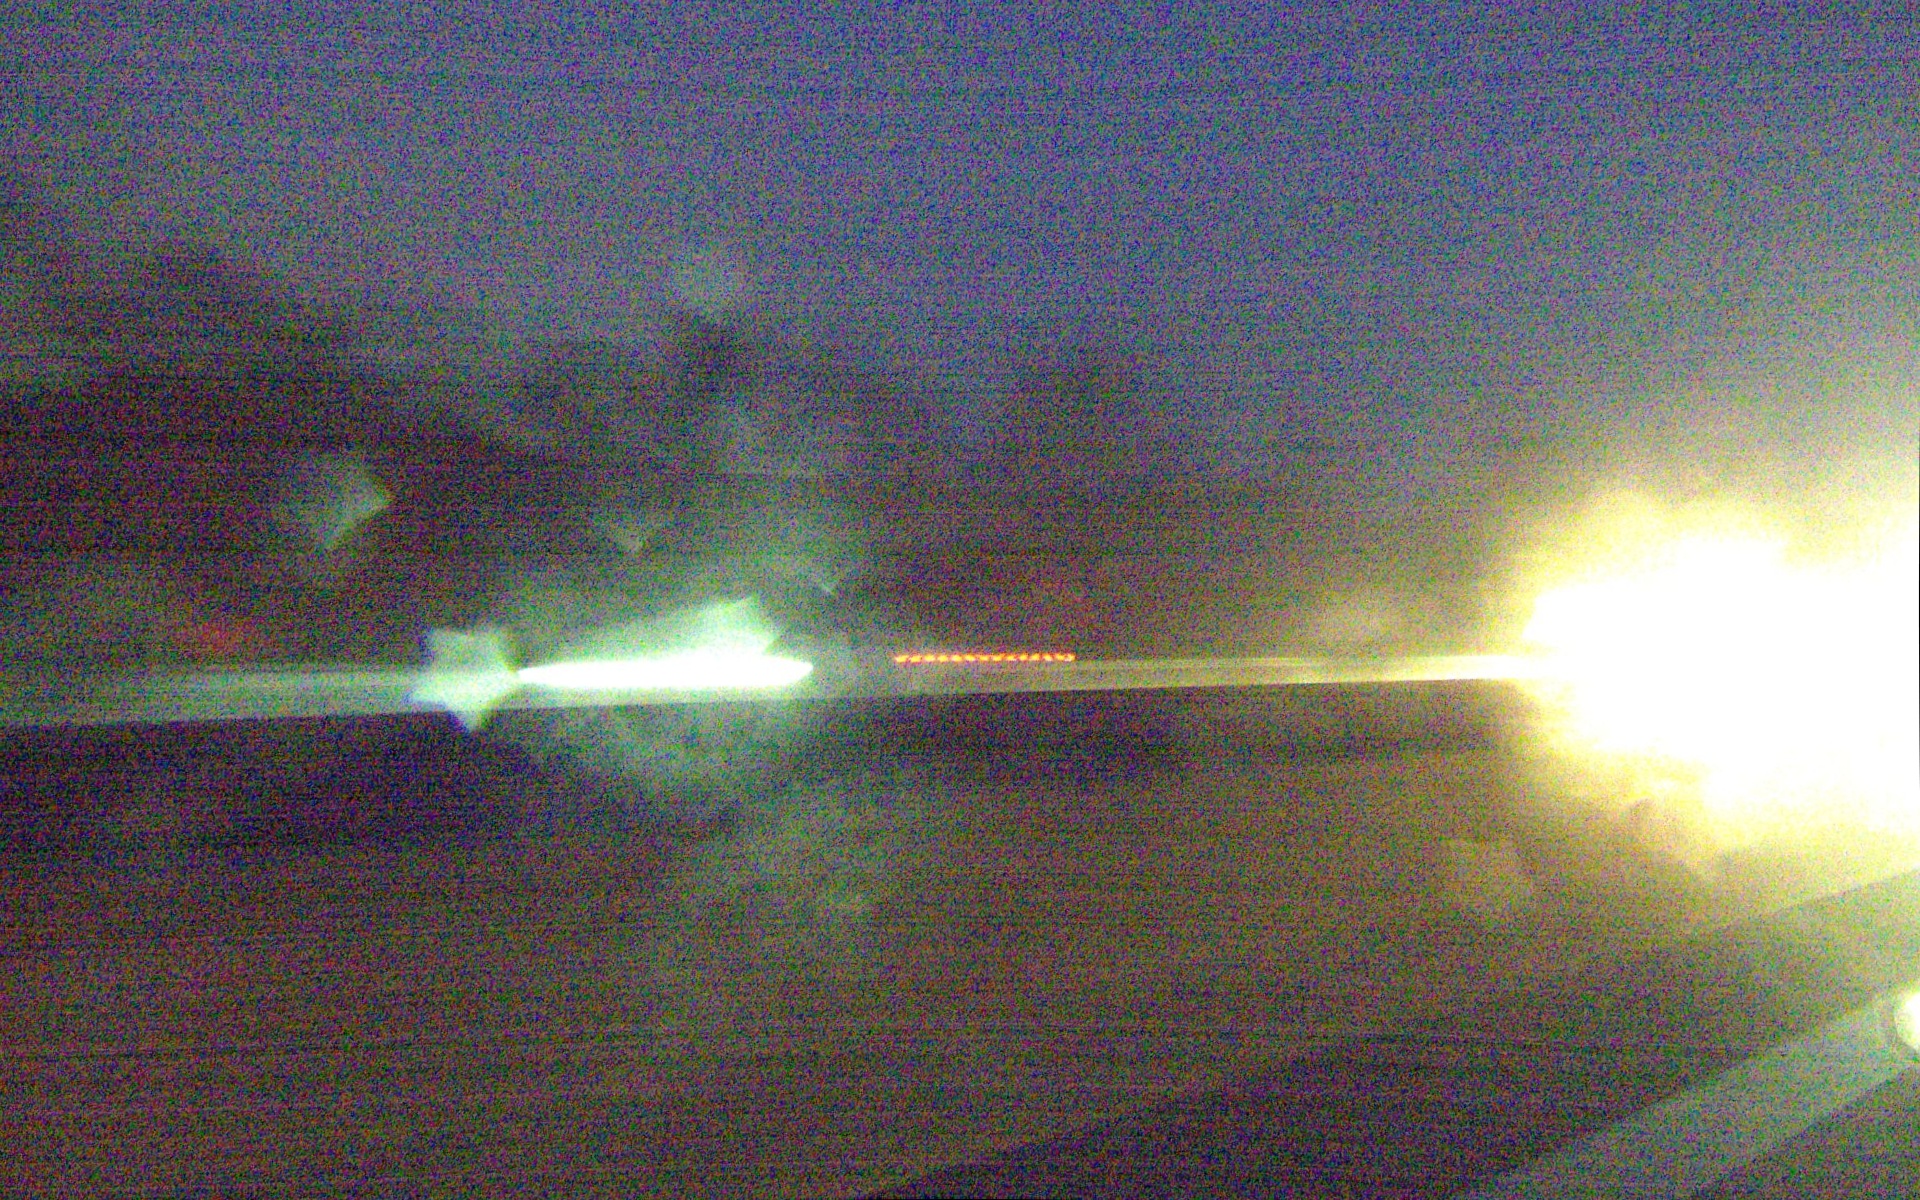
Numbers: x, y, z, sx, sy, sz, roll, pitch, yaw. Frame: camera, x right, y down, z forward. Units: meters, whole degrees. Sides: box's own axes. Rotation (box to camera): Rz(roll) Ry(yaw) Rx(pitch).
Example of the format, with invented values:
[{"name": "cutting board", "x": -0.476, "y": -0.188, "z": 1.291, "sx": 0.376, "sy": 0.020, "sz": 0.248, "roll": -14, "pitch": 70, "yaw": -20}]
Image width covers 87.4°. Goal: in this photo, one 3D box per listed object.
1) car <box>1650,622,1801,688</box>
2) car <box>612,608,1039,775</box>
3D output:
[{"name": "car", "x": 25.354, "y": 1.784, "z": 33.229, "sx": 5.293, "sy": 2.040, "sz": 1.986, "roll": 1, "pitch": -2, "yaw": -28}, {"name": "car", "x": -1.669, "y": 1.060, "z": 13.162, "sx": 5.174, "sy": 1.762, "sz": 1.984, "roll": 1, "pitch": 1, "yaw": -30}]
